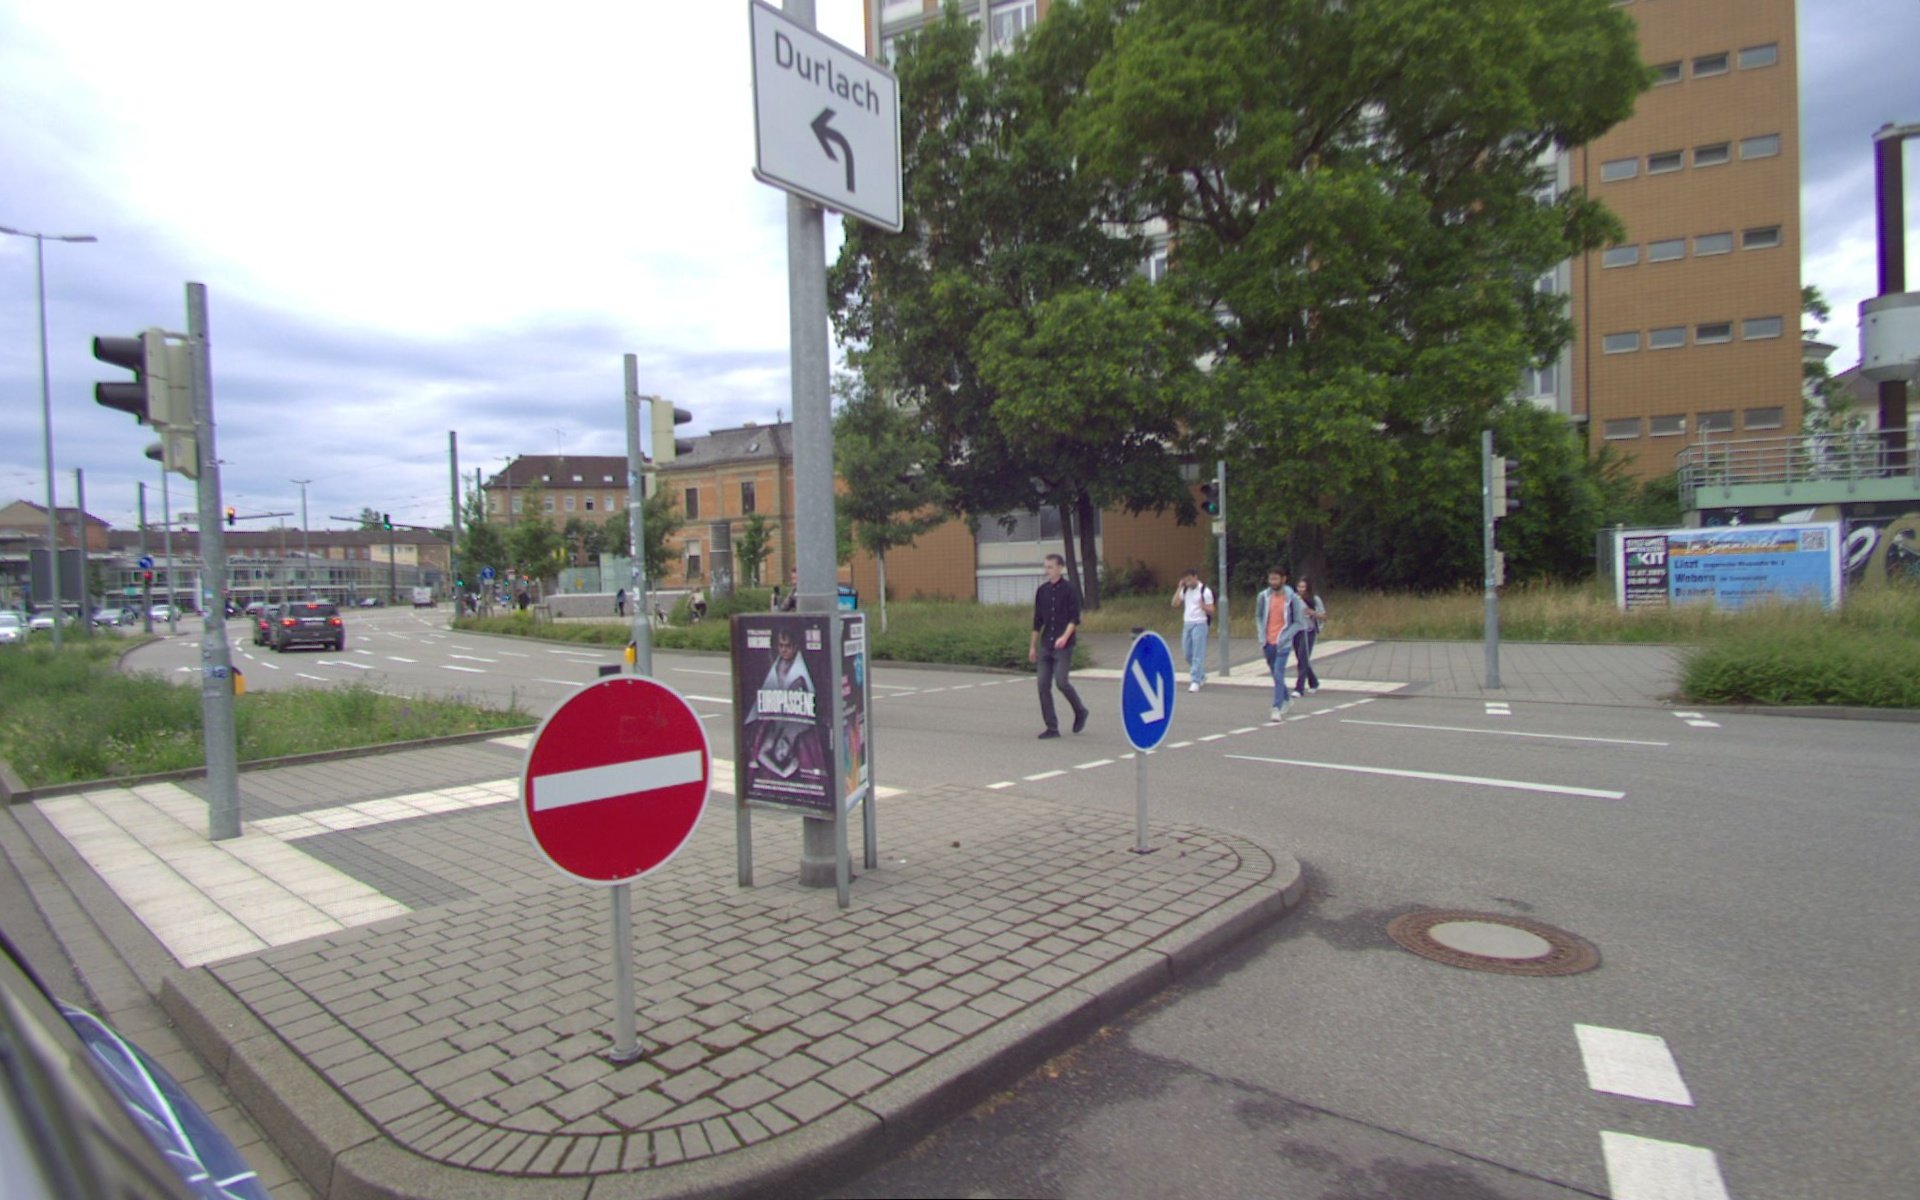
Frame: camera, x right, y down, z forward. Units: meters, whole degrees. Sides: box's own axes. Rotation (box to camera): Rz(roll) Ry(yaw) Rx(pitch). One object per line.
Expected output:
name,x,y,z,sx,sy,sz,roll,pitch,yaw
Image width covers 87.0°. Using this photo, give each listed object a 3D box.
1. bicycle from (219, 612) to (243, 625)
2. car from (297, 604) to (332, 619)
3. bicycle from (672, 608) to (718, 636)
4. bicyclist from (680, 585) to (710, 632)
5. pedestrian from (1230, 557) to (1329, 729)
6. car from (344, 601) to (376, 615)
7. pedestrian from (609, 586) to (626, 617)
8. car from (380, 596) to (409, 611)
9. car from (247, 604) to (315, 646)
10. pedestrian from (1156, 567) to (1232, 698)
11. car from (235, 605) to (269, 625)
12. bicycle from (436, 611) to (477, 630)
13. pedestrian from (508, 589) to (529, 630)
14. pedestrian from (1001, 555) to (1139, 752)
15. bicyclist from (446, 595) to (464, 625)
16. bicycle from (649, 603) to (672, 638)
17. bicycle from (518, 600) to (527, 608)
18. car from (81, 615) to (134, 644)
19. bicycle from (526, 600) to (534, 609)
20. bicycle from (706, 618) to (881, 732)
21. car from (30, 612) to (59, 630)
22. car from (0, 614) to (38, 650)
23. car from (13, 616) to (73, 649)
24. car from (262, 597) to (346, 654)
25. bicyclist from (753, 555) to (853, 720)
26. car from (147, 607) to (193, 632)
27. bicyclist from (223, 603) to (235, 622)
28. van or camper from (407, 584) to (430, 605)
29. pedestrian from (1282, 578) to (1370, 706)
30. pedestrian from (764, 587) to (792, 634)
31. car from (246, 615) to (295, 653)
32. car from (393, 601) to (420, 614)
bicycle,-64.206,1.640,89.096,0.526,1.078,1.597,-1,1,31
car,-82.945,1.440,130.126,2.334,1.768,5.145,-2,1,-16
bicycle,-9.136,0.755,34.853,0.706,0.889,1.885,-3,2,-42
bicyclist,-9.130,0.286,34.819,0.706,1.582,0.713,-3,2,-42
pedestrian,3.619,0.461,11.470,0.882,1.856,0.668,-2,0,-42
car,-87.570,1.095,147.770,2.336,1.924,5.141,-2,1,-10
pedestrian,-19.385,0.070,57.261,0.736,1.747,0.688,-2,0,-33
car,-89.244,0.525,159.723,2.336,2.149,5.141,-2,1,-10
car,-25.842,0.932,38.476,1.846,1.519,4.488,1,-1,-38
pedestrian,3.435,0.462,14.868,0.748,1.856,0.767,-1,0,-42
car,-78.642,1.631,112.512,1.966,2.029,4.013,-2,1,-19
bicycle,-28.718,1.151,57.746,2.083,1.036,0.798,-1,1,-29
pedestrian,-21.817,0.475,50.024,0.808,1.995,0.660,-2,0,-33
pedestrian,1.113,0.494,10.220,1.036,1.856,0.867,-2,0,-42
bicyclist,-28.791,0.569,57.703,0.801,1.669,0.796,-3,2,-29
bicycle,-13.472,0.907,45.535,0.835,1.459,2.260,-2,1,-14
bicycle,-54.199,0.485,125.363,0.823,1.038,2.404,-2,1,-20
car,-66.995,2.291,79.632,1.965,2.029,4.013,-2,1,-22
bicycle,-53.435,0.535,125.646,0.742,1.038,2.404,-2,1,-20
bicycle,-1.935,0.833,11.916,1.877,1.167,0.792,-2,1,-41
car,-104.352,2.368,115.371,1.925,1.655,4.686,-3,5,-37
car,-40.578,1.356,42.633,1.941,1.466,4.204,-2,1,-34
car,-61.209,2.133,67.607,1.966,2.029,4.013,-2,1,-28
car,-22.027,0.826,33.903,1.847,1.738,4.720,-1,0,-40
bicyclist,-1.860,0.415,12.000,0.821,1.858,0.794,-2,0,-41
car,-70.443,1.717,90.290,1.966,2.029,4.013,-2,1,-19
bicyclist,-64.254,1.132,88.991,0.516,1.651,0.648,-1,1,32
van or camper,-66.846,-0.661,125.067,2.247,2.546,5.591,-1,0,-26
pedestrian,5.026,0.553,13.893,0.831,1.661,0.807,-2,0,-42
pedestrian,-6.215,0.347,34.486,0.555,1.552,0.756,-4,3,-42
car,-30.390,1.459,44.572,1.597,1.527,3.673,-1,0,-37
car,-90.610,1.248,165.870,2.336,2.037,5.141,-2,1,-10
